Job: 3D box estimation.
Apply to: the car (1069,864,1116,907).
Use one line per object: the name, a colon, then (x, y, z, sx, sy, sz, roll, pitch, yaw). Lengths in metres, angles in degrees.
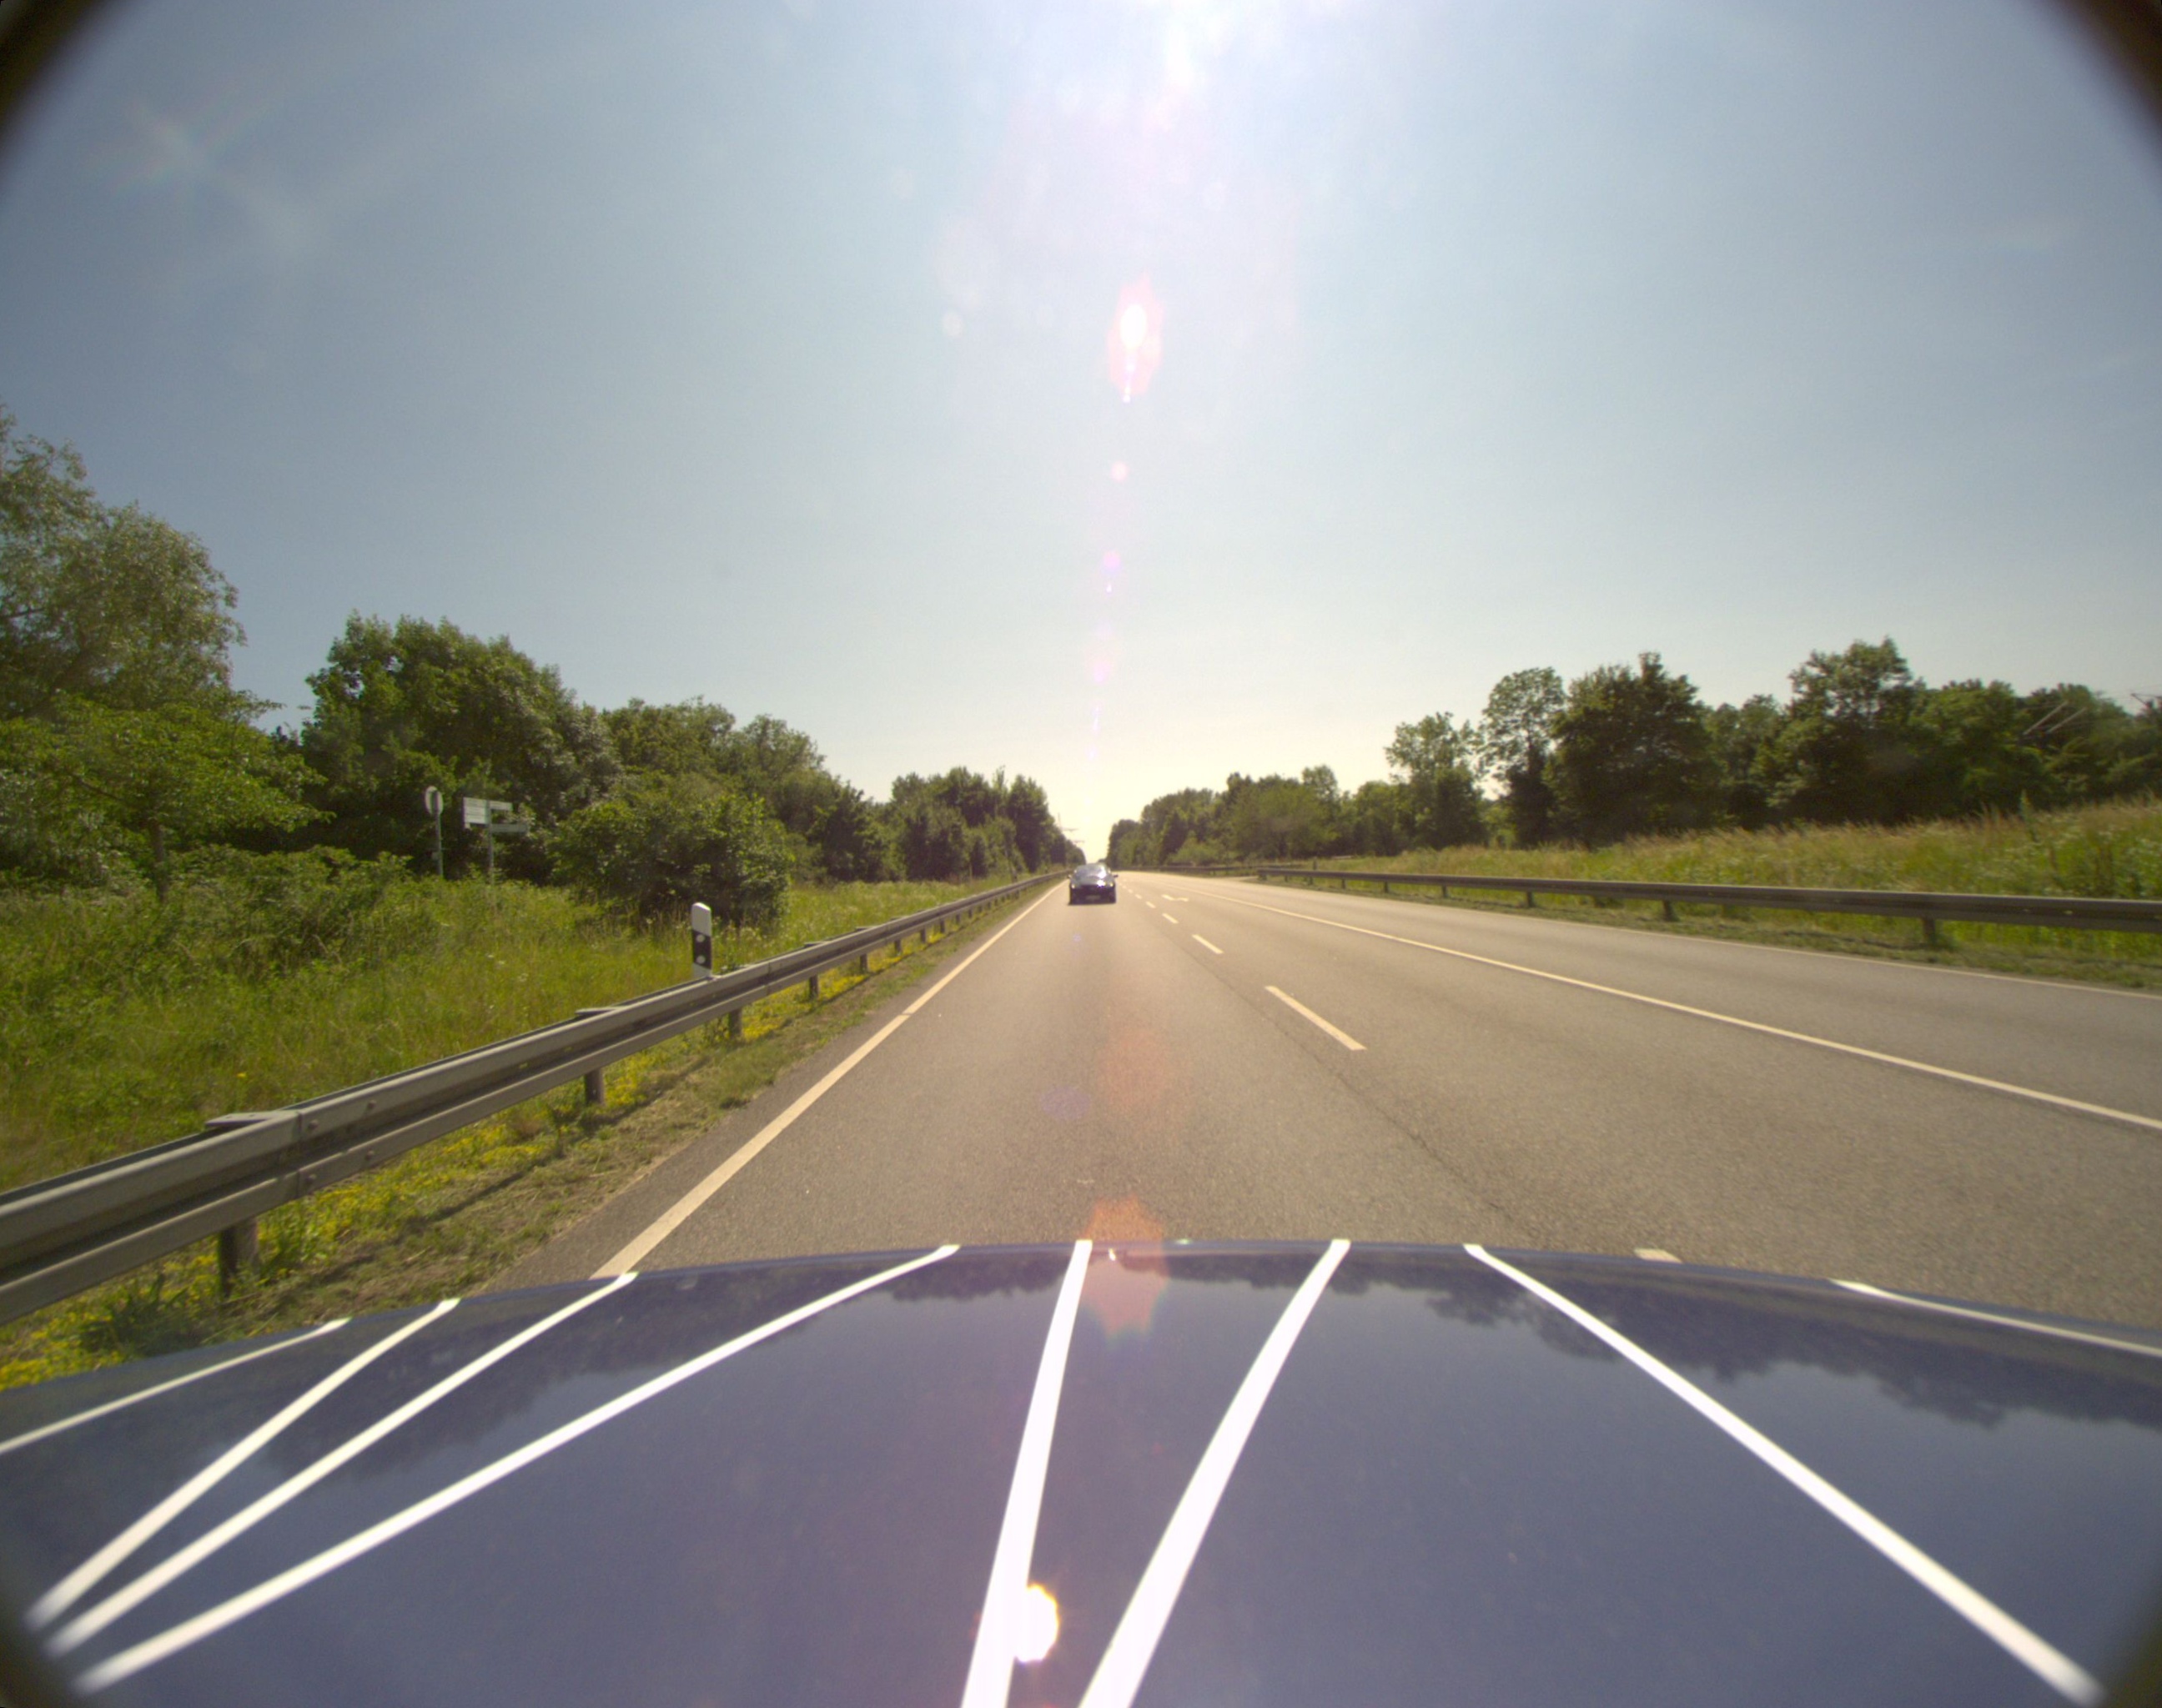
car: (0.427, 1.079, 27.146, 1.529, 1.387, 3.443, -2, 0, 1)
